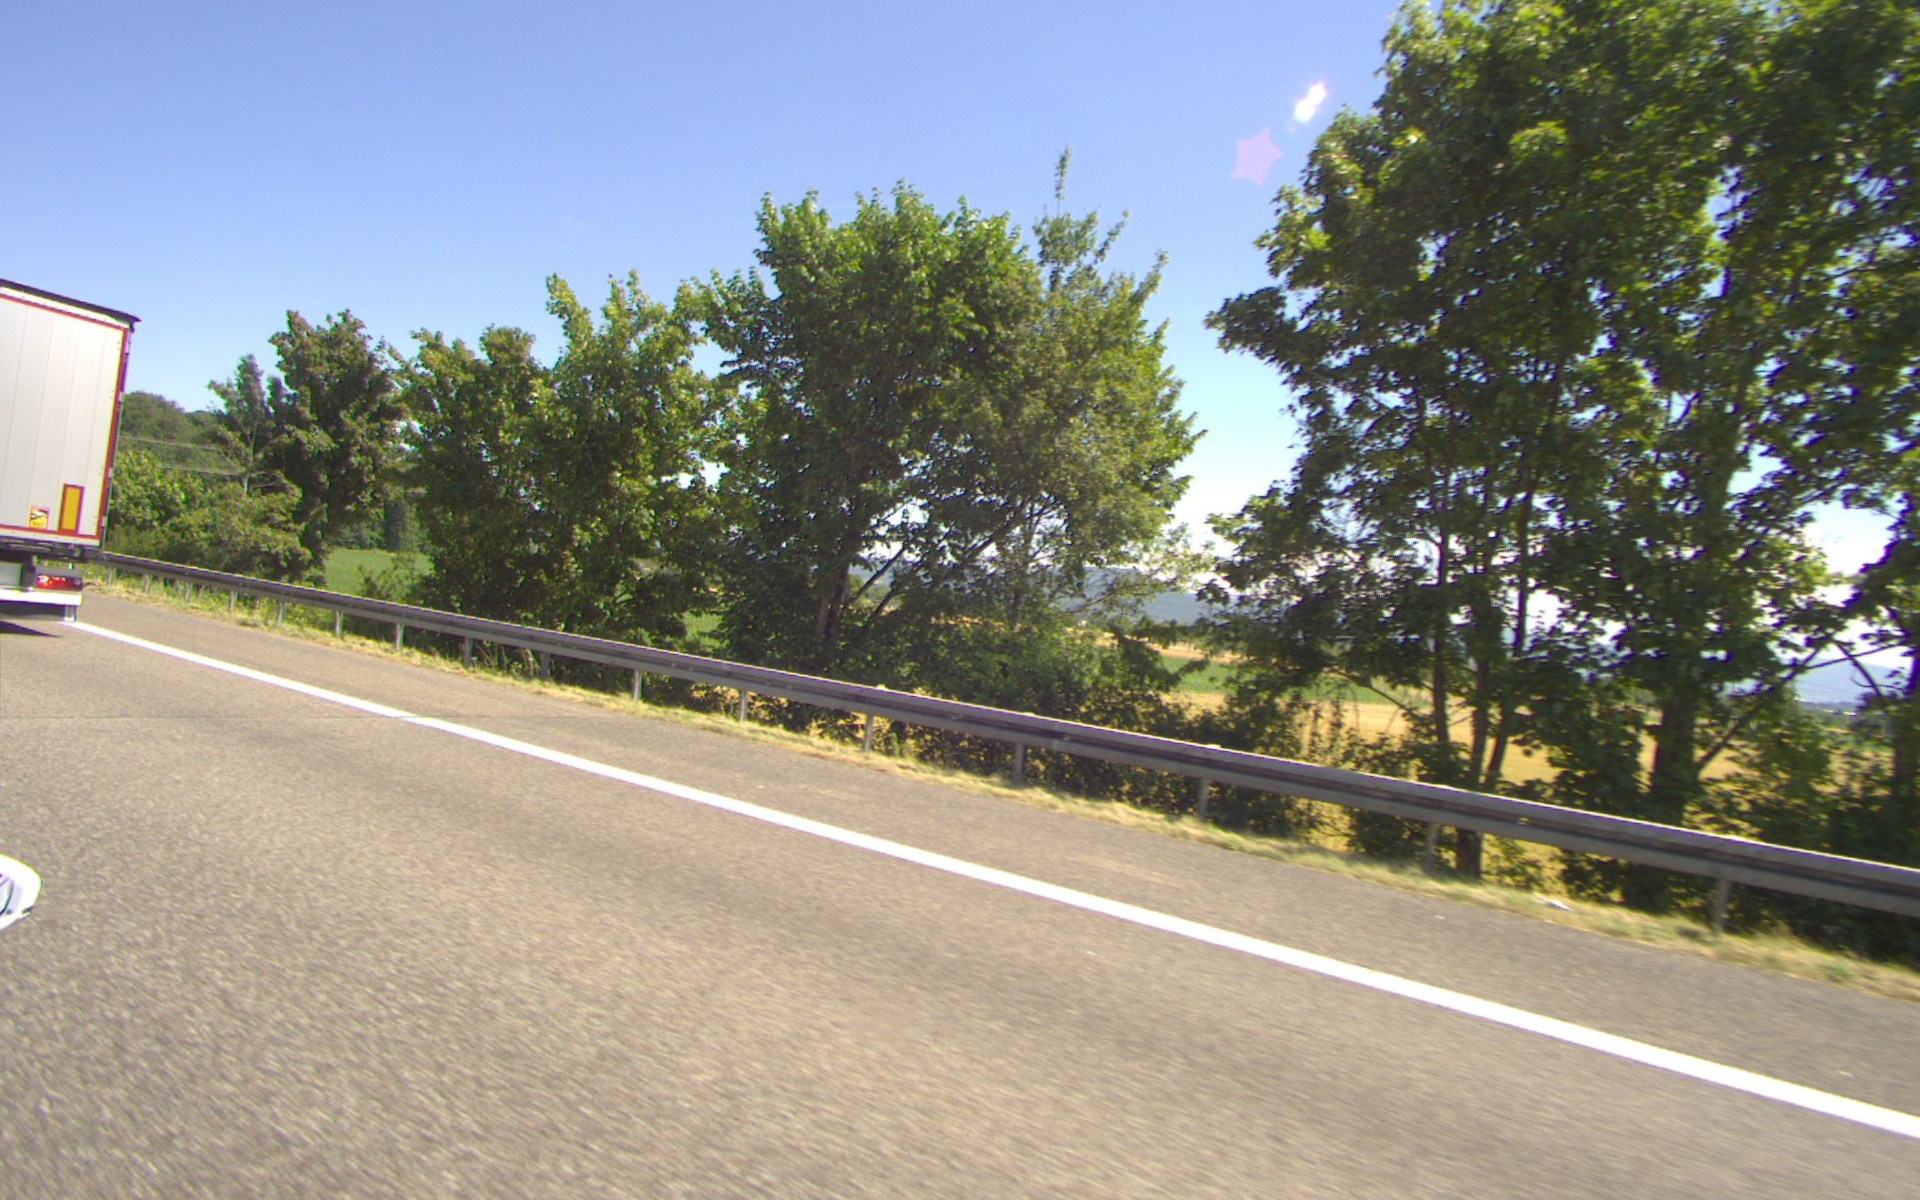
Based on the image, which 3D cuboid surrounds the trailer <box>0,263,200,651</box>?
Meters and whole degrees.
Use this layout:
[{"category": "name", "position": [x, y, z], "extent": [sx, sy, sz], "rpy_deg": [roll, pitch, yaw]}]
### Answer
[{"category": "trailer", "position": [-16.497, -2.256, 14.899], "extent": [13.407, 4.228, 3.442], "rpy_deg": [6, -2, 32]}]
